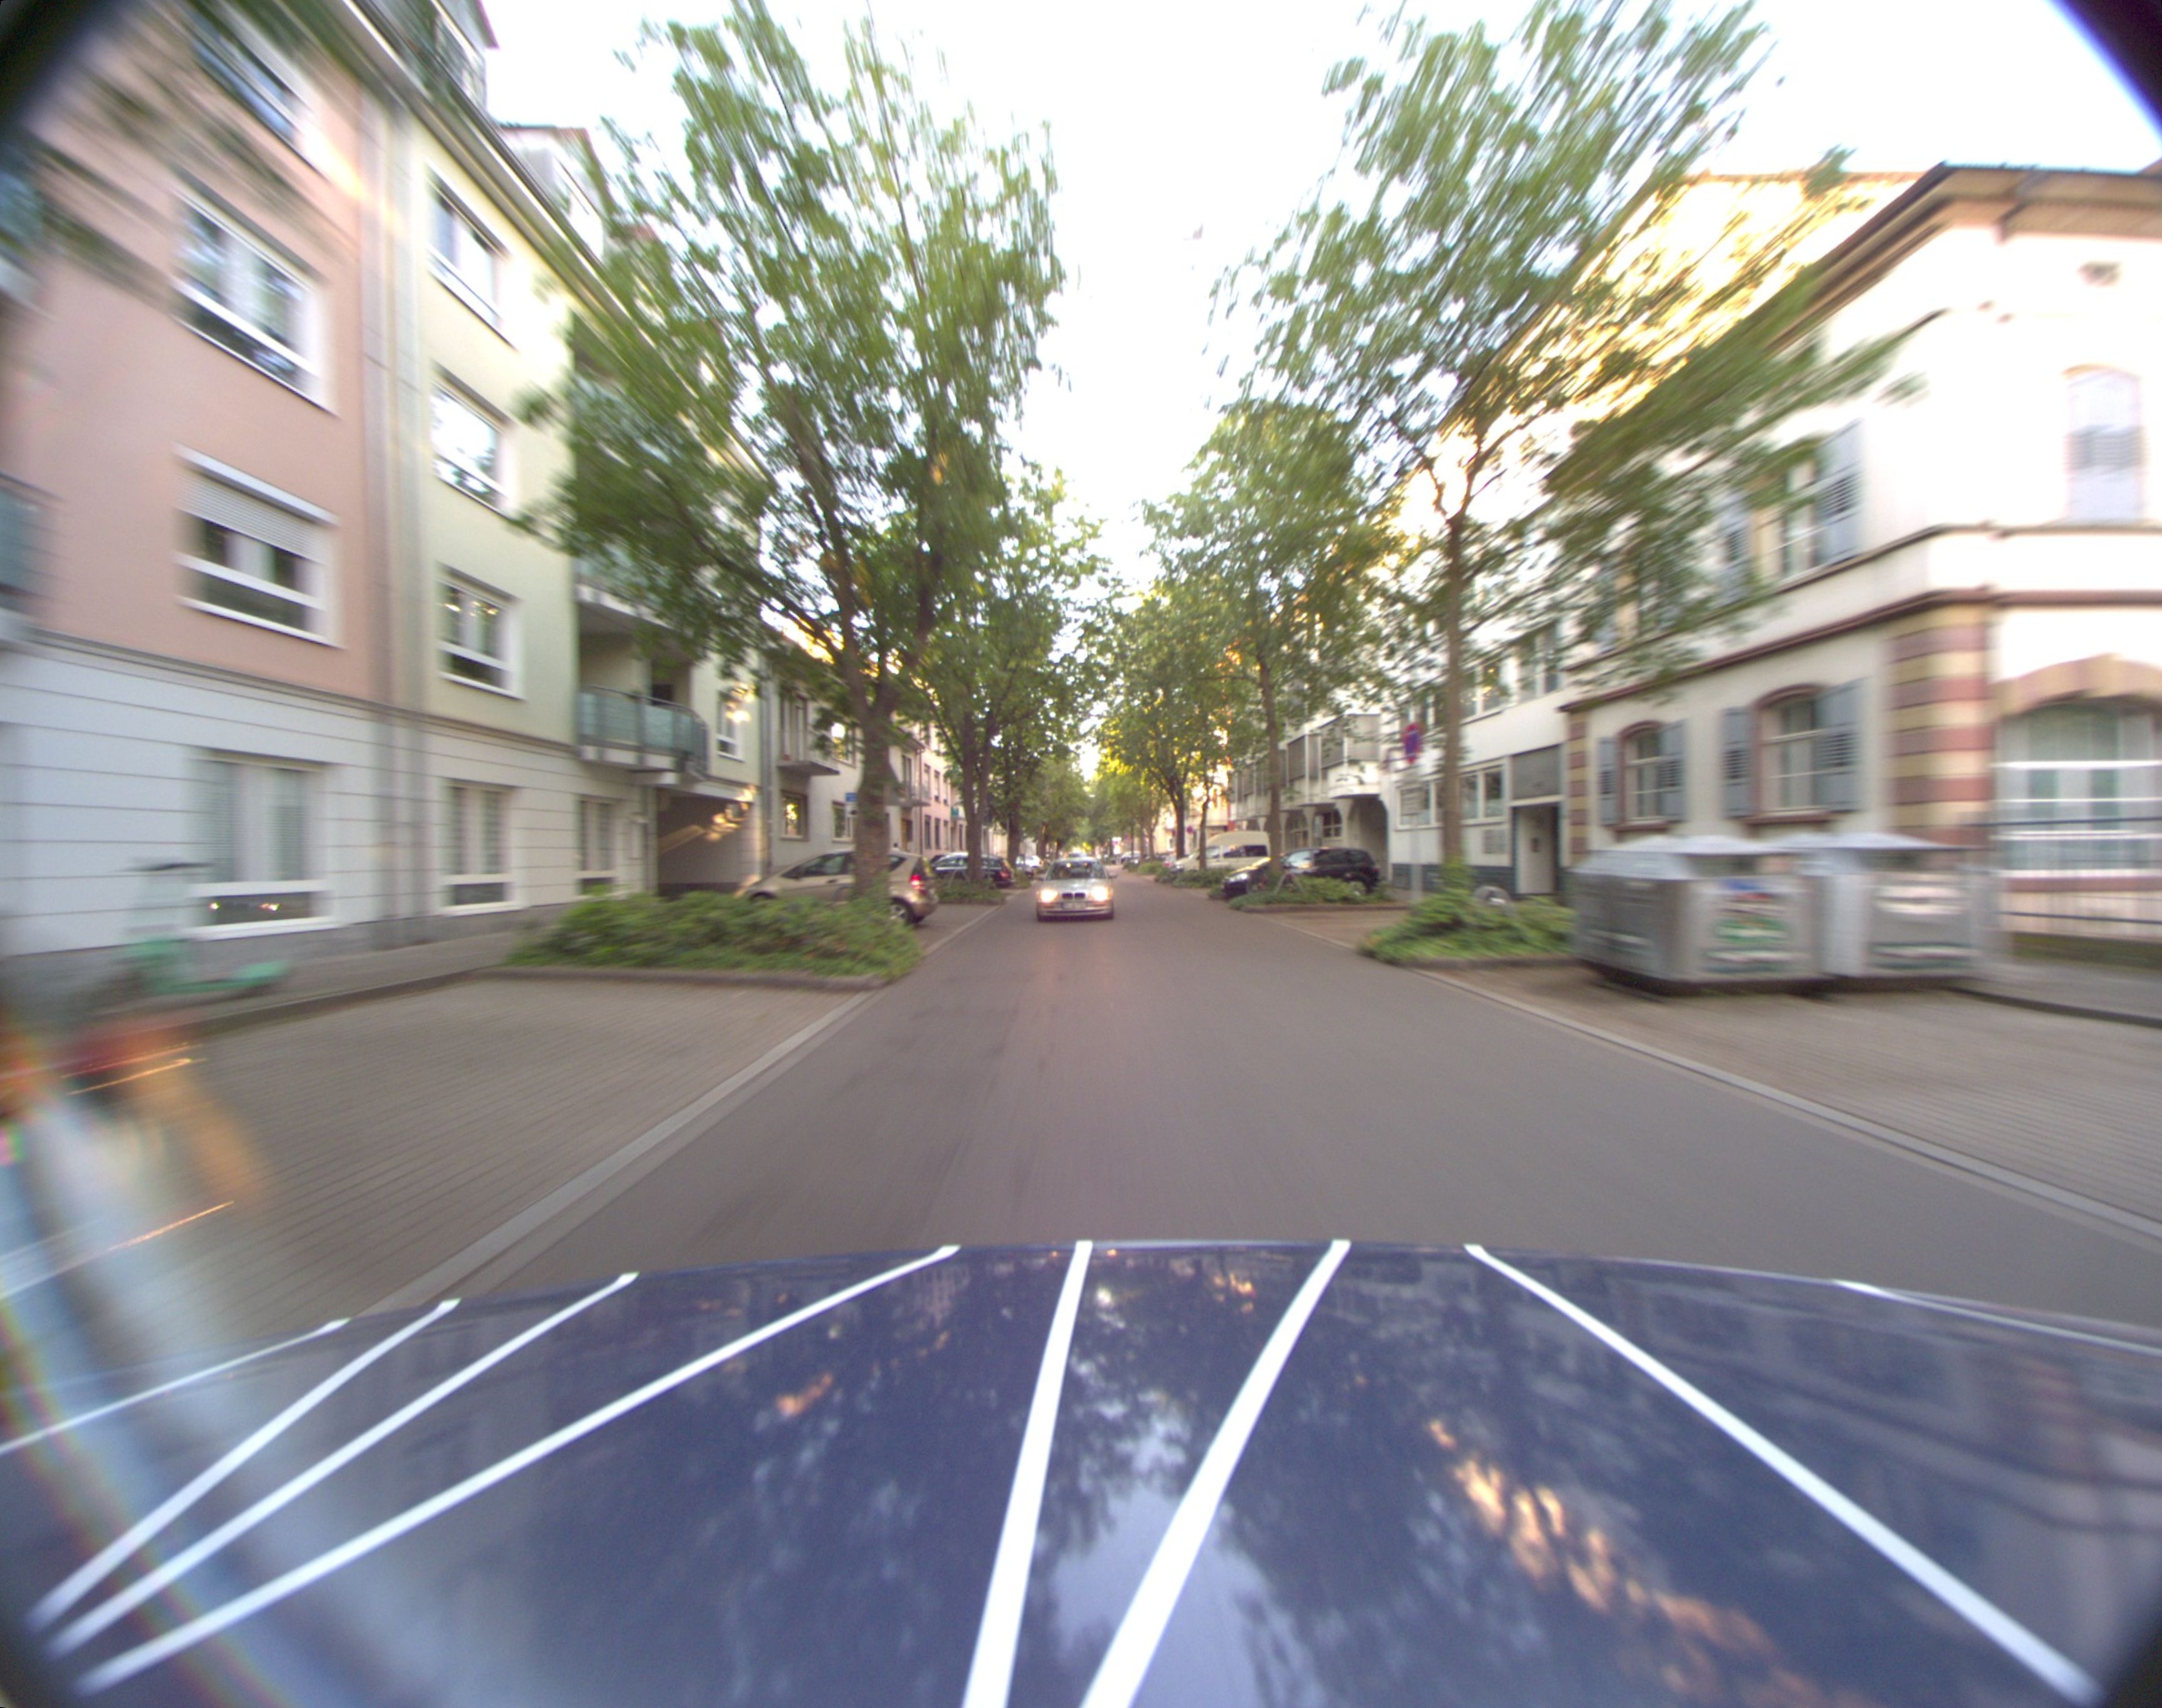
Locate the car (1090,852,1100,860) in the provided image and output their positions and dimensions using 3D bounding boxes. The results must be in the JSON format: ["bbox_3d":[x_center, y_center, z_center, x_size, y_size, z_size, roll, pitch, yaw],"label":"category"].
[{"bbox_3d":[2.981,0.375,159.840,1.787,1.678,4.385,-1,0,-2],"label":"car"}]

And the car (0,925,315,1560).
[{"bbox_3d":[-4.630,0.919,1.481,4.095,1.443,1.933,2,0,-5],"label":"car"}]

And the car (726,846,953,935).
[{"bbox_3d":[-4.787,0.701,15.528,3.979,1.576,1.916,2,1,-1],"label":"car"}]

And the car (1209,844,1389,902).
[{"bbox_3d":[6.523,0.551,23.165,4.865,1.612,2.160,-1,1,1],"label":"car"}]

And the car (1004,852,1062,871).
[{"bbox_3d":[-4.099,0.643,65.843,4.887,1.488,1.988,-1,0,0],"label":"car"}]

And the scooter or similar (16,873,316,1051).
[{"bbox_3d":[-7.199,0.787,6.100,0.656,1.196,1.454,2,0,-3],"label":"scooter or similar"}]

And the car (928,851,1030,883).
[{"bbox_3d":[-4.966,0.607,37.574,4.689,1.380,2.000,2,0,1],"label":"car"}]

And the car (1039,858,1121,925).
[{"bbox_3d":[-0.101,0.816,18.468,1.737,1.363,4.331,-1,0,-2],"label":"car"}]

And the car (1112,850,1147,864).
[{"bbox_3d":[6.393,0.352,99.692,4.601,1.725,2.142,-1,0,5],"label":"car"}]

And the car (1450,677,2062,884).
[{"bbox_3d":[6.506,-0.665,7.744,4.517,1.761,1.999,-1,1,-2],"label":"car"}]

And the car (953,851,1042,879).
[{"bbox_3d":[-4.797,0.621,44.040,4.851,1.440,2.042,1,1,2],"label":"car"}]

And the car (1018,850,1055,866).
[{"bbox_3d":[-4.646,0.398,79.373,3.732,1.544,1.754,-1,0,-3],"label":"car"}]

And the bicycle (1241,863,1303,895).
[{"bbox_3d":[5.278,0.690,21.041,1.556,0.826,0.613,-1,1,3],"label":"bicycle"}]

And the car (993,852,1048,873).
[{"bbox_3d":[-4.577,0.647,57.867,4.093,1.482,1.797,-1,0,-3],"label":"car"}]

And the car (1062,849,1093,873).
[{"bbox_3d":[-0.224,0.513,55.869,1.892,1.636,4.001,-2,0,4],"label":"car"}]

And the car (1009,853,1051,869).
[{"bbox_3d":[-4.754,0.649,70.690,3.846,1.403,1.712,0,0,-5],"label":"car"}]

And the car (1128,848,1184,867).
[{"bbox_3d":[6.357,0.326,64.691,4.520,1.517,1.871,-1,0,0],"label":"car"}]

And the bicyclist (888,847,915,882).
[{"bbox_3d":[-8.255,0.463,34.974,0.973,1.595,1.135,-1,1,-3],"label":"bicyclist"}]

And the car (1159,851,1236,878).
[{"bbox_3d":[6.666,0.580,43.817,4.178,1.460,1.953,-1,0,1],"label":"car"}]

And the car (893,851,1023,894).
[{"bbox_3d":[-4.577,0.673,28.726,4.468,1.419,2.011,2,1,4],"label":"car"}]

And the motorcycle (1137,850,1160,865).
[{"bbox_3d":[7.164,0.374,80.435,2.234,1.461,0.900,-1,1,-23],"label":"motorcycle"}]

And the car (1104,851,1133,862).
[{"bbox_3d":[6.112,0.398,123.763,4.529,1.705,2.000,-1,0,1],"label":"car"}]

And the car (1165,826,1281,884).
[{"bbox_3d":[6.568,0.048,35.574,5.016,2.558,2.121,-1,0,0],"label":"car"}]
